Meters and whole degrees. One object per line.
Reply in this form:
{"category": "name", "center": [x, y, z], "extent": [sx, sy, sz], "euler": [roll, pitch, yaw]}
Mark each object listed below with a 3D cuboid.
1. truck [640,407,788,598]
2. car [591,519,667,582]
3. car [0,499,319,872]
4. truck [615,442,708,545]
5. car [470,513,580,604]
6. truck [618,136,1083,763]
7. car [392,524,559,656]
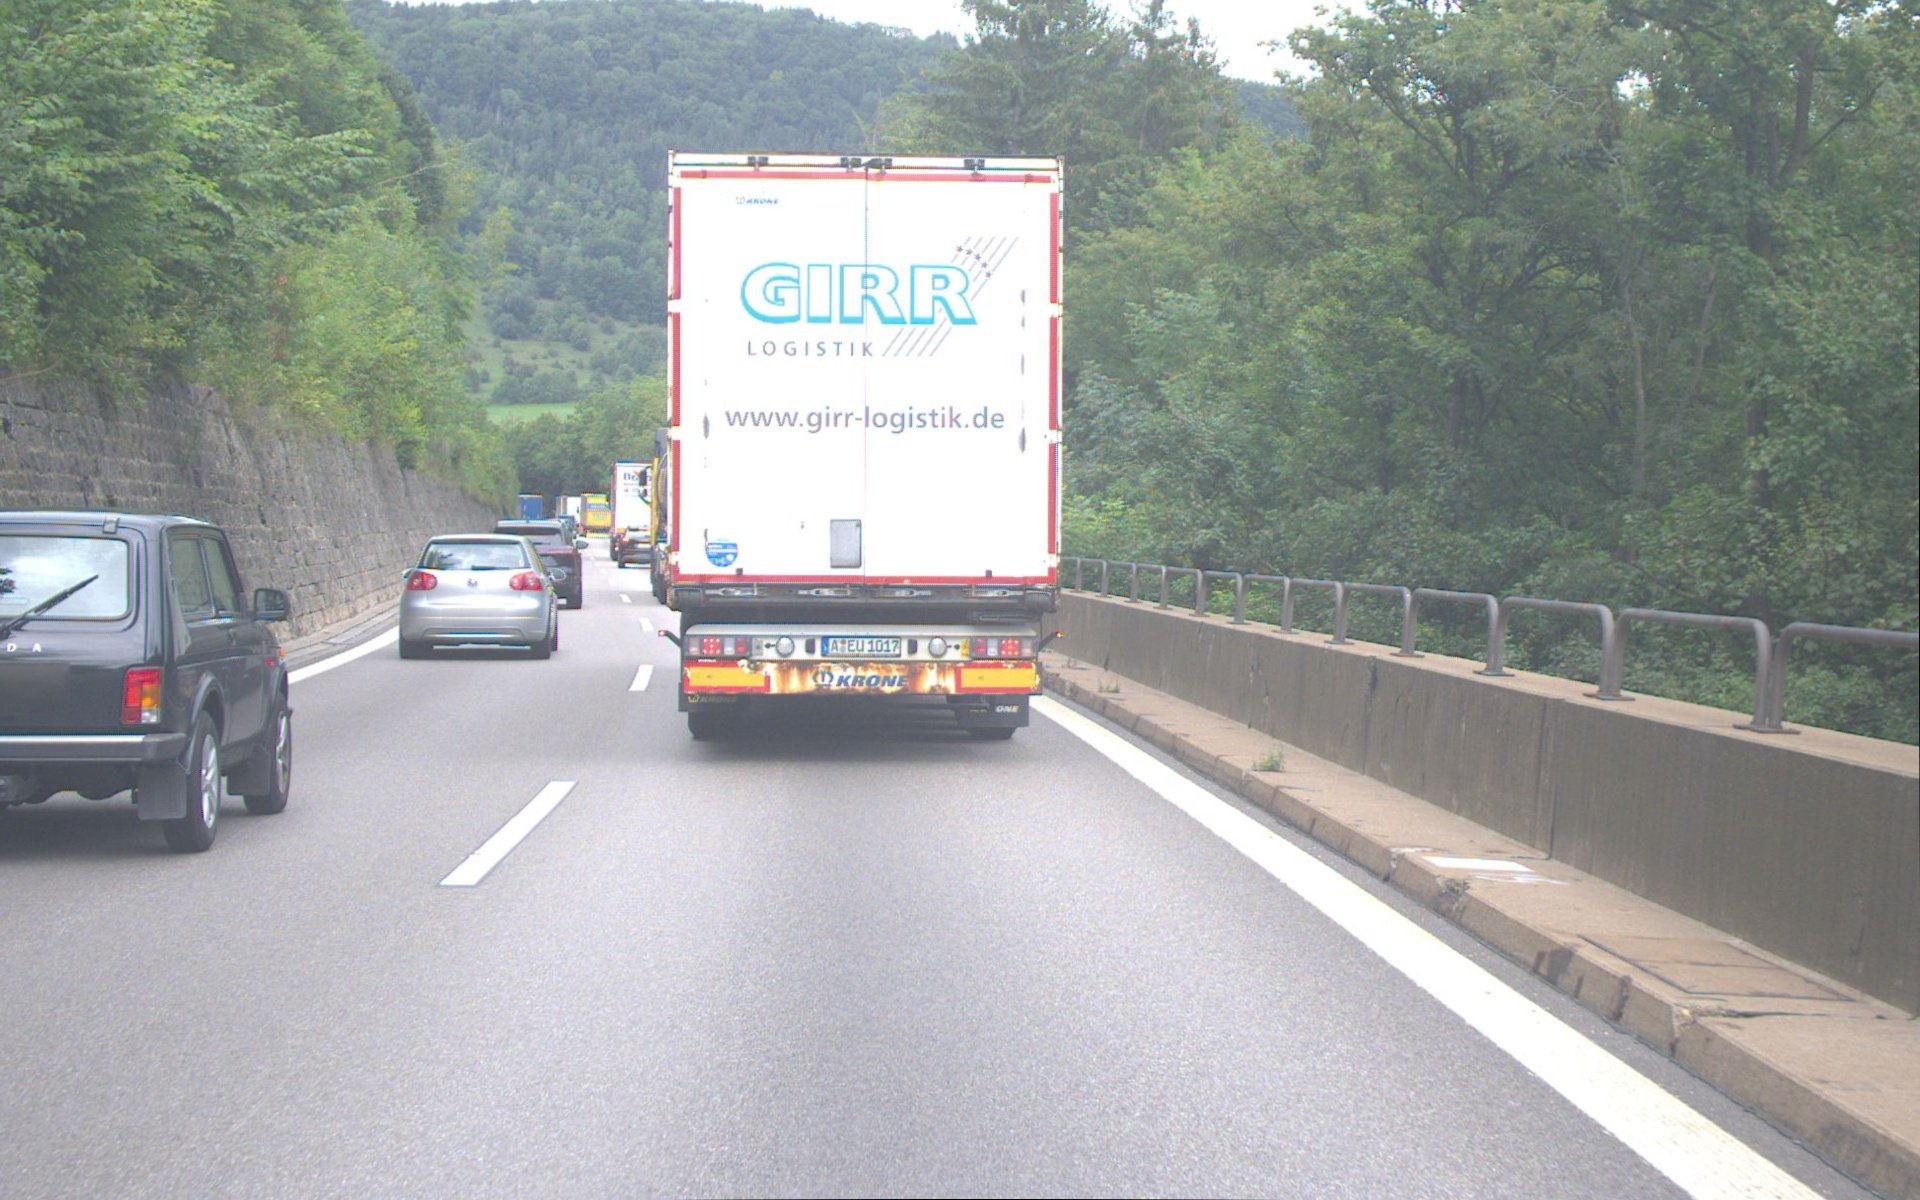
{"category": "truck", "center": [-5.052, -1.904, 69.203], "extent": [2.485, 3.559, 9.311], "euler": [1, 1, -7]}
{"category": "car", "center": [-10.983, -1.621, 114.191], "extent": [1.993, 2.007, 4.000], "euler": [1, 0, 1]}
{"category": "car", "center": [-4.326, 0.345, 17.133], "extent": [1.669, 1.633, 4.069], "euler": [1, 1, -3]}
{"category": "truck", "center": [-12.052, -4.227, 139.873], "extent": [3.510, 3.834, 11.778], "euler": [1, 0, -4]}
{"category": "car", "center": [-7.918, -0.759, 62.791], "extent": [1.916, 1.589, 4.180], "euler": [1, 1, -7]}
{"category": "truck", "center": [-0.836, -1.038, 26.547], "extent": [2.908, 3.947, 9.280], "euler": [1, 1, -2]}
{"category": "car", "center": [-5.733, -0.143, 41.059], "extent": [1.729, 1.481, 4.001], "euler": [1, 1, -5]}
